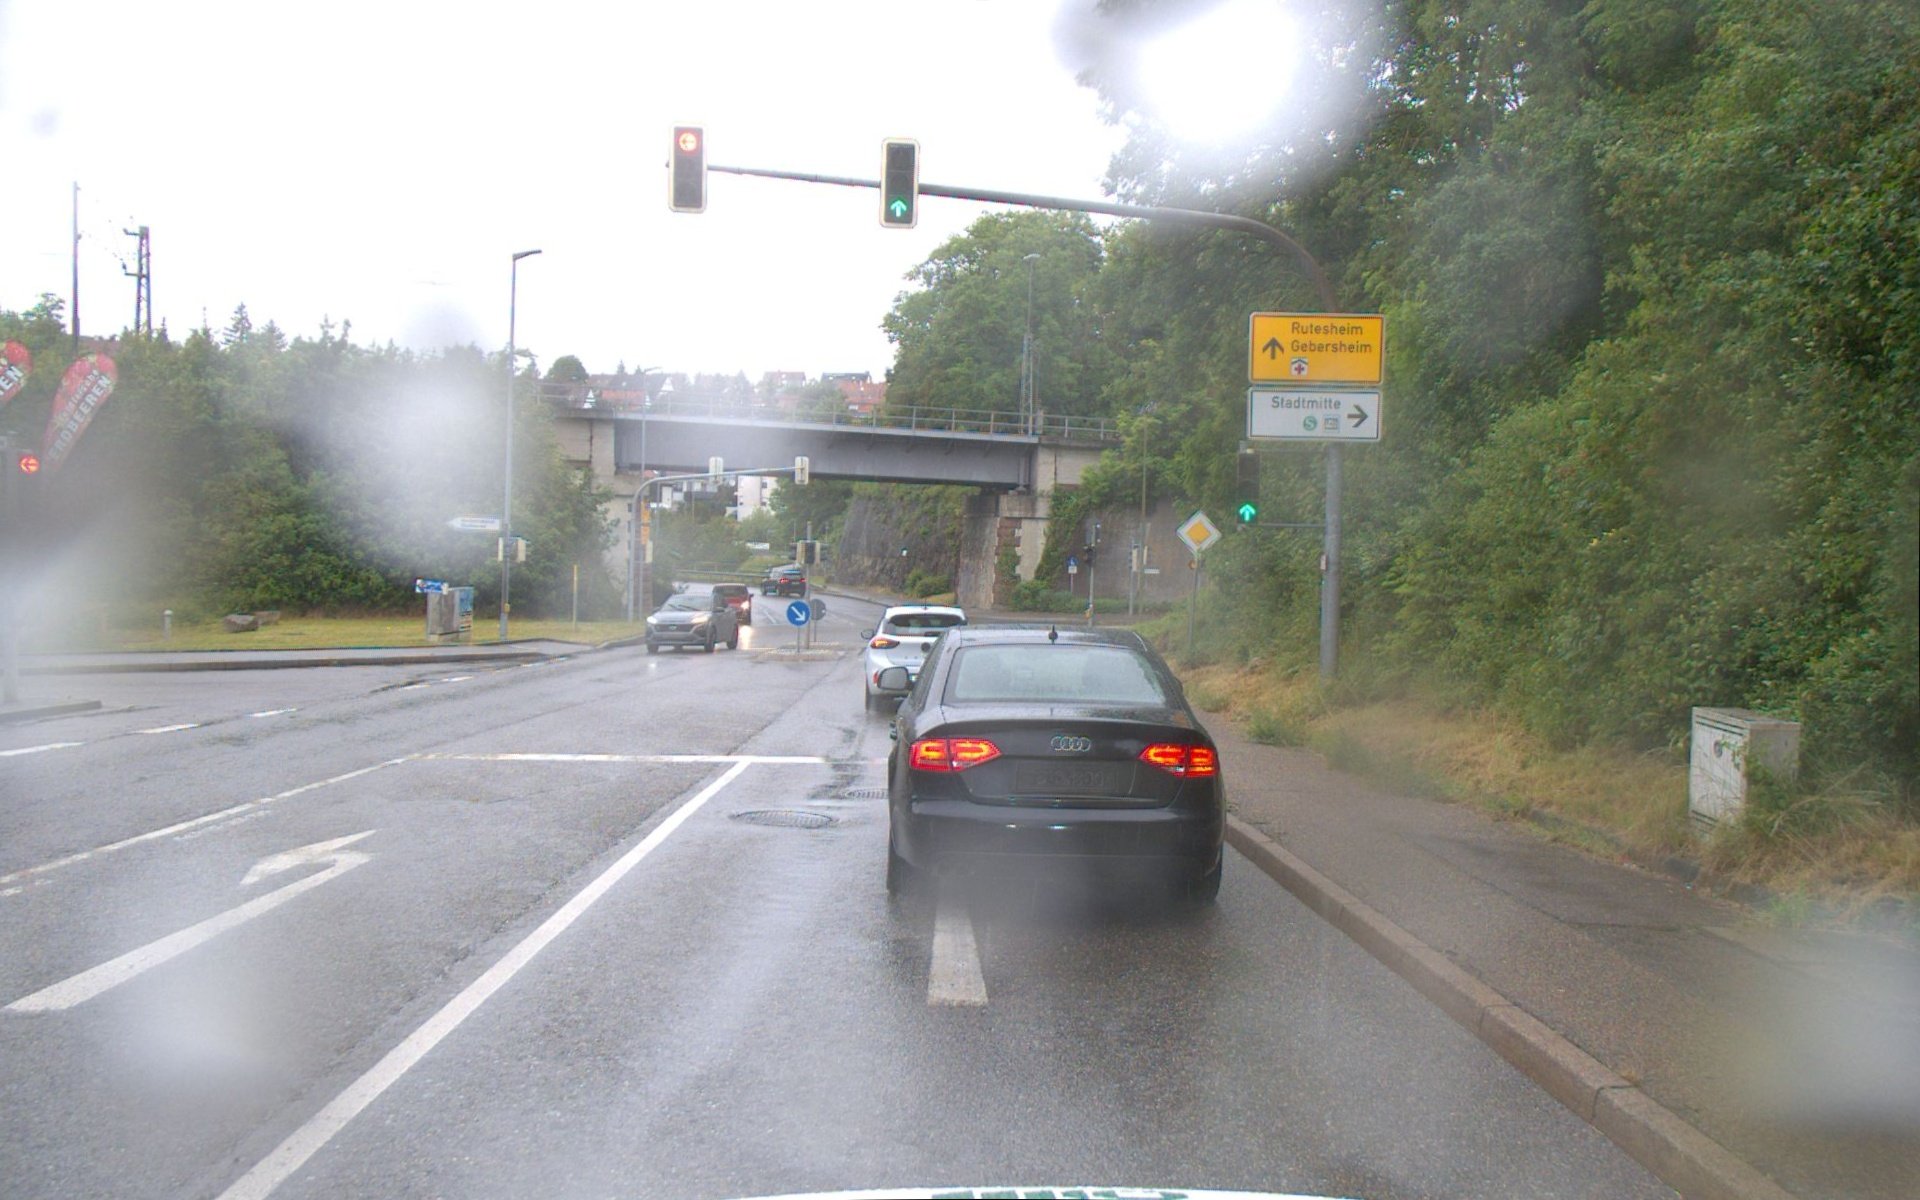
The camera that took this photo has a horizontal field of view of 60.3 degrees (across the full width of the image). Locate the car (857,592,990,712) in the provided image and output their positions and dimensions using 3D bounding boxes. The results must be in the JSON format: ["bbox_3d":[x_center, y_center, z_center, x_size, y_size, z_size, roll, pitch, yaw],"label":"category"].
[{"bbox_3d":[-0.526,0.742,24.466,1.786,1.613,3.999,1,-1,-1],"label":"car"}]

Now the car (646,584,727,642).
[{"bbox_3d":[-7.417,0.341,45.169,1.606,1.495,3.999,0,0,-1],"label":"car"}]

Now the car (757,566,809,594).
[{"bbox_3d":[-11.043,-1.276,102.879,1.970,1.623,3.967,0,2,-26],"label":"car"}]

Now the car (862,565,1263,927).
[{"bbox_3d":[0.445,0.712,9.589,1.832,1.645,3.999,1,-1,-1],"label":"car"}]

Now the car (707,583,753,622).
[{"bbox_3d":[-10.098,0.092,72.796,1.956,1.657,3.993,0,0,-8],"label":"car"}]

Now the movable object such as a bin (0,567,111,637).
[{"bbox_3d":[-24.098,0.050,40.012,2.699,1.656,5.752,0,-1,39],"label":"movable object such as a bin"}]
